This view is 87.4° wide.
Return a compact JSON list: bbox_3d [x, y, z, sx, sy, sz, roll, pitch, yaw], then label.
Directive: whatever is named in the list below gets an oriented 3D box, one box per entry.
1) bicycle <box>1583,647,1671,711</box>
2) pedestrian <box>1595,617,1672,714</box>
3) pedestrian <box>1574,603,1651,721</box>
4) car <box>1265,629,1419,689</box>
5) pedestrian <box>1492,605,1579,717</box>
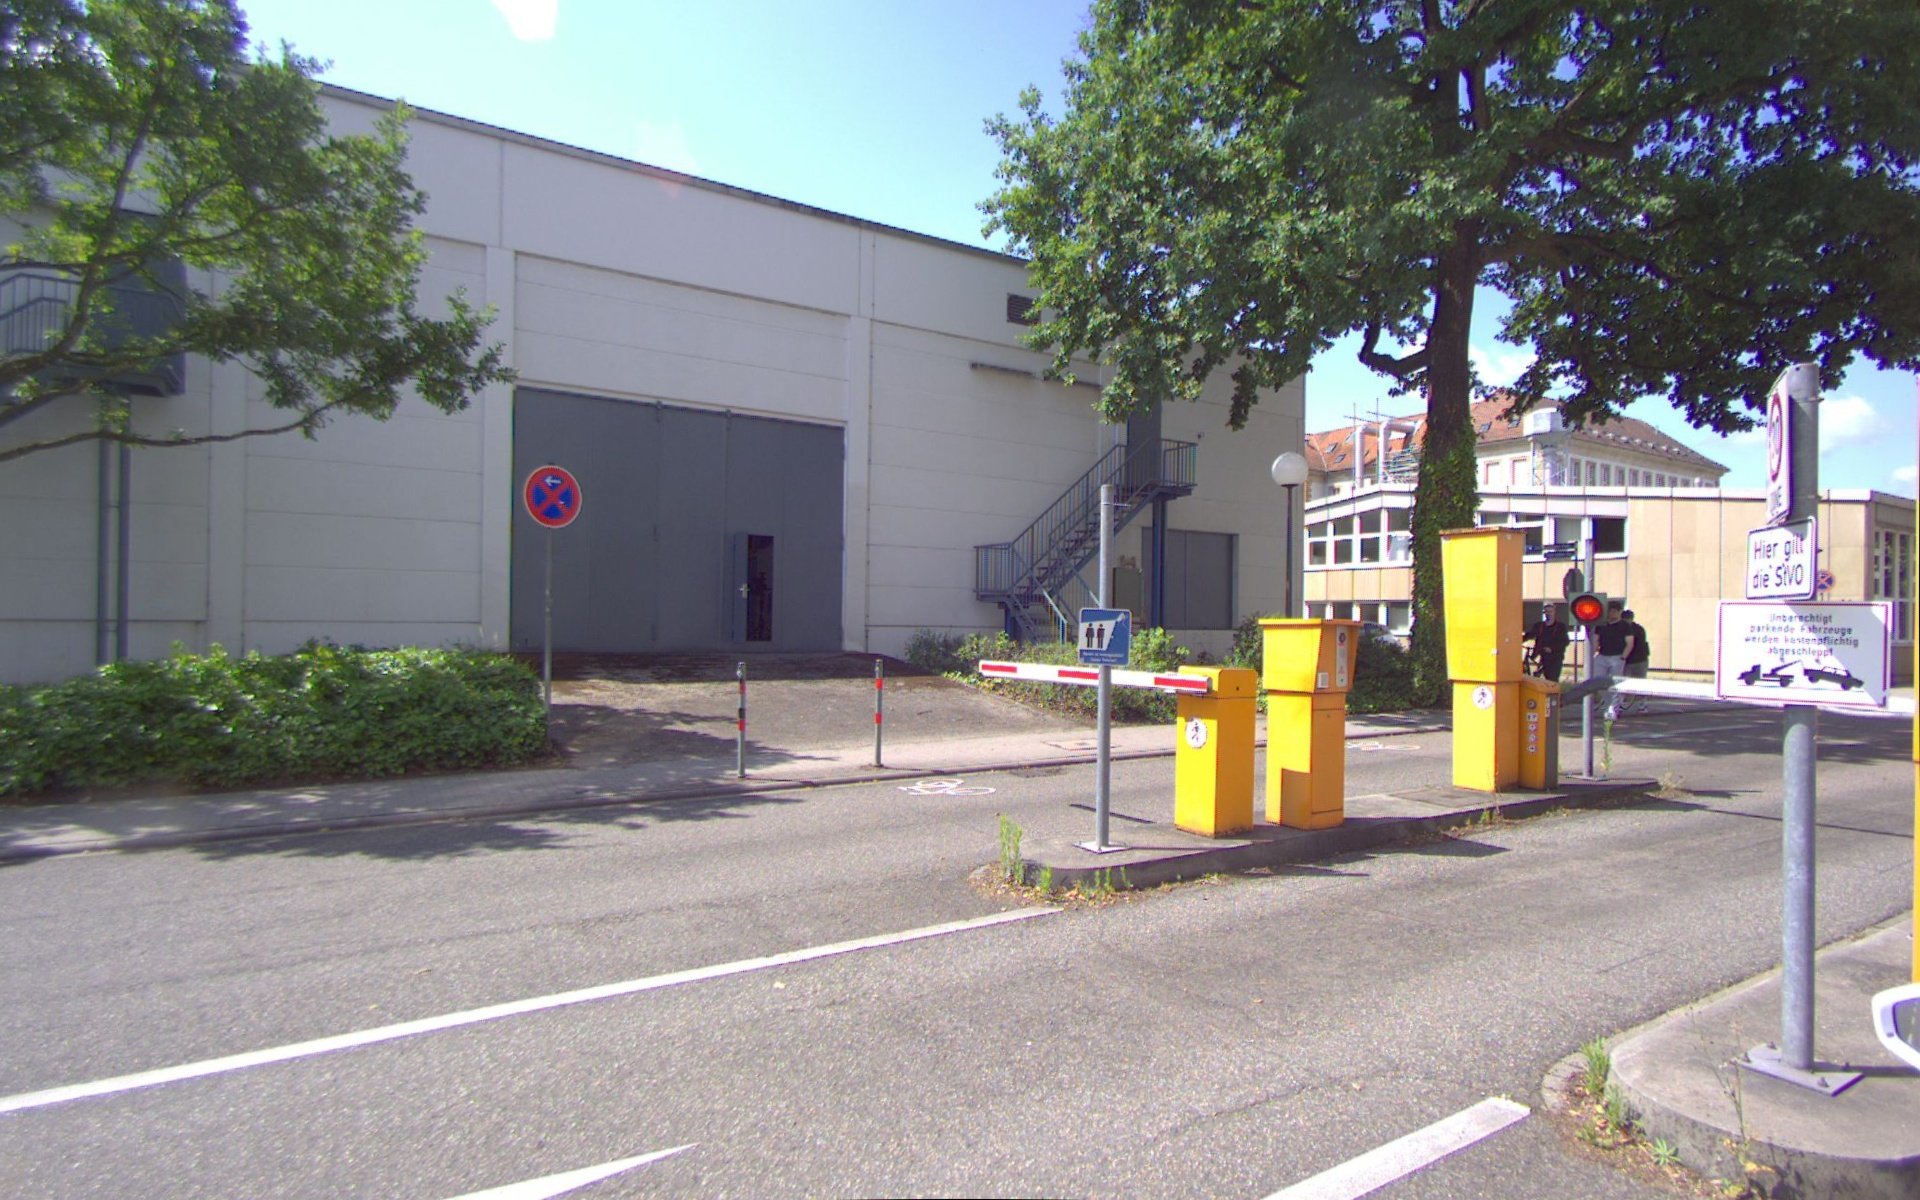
[{"bbox_3d":[12.120,1.404,18.239,1.880,1.063,0.641,1,-1,-33],"label":"bicycle"},{"bbox_3d":[11.558,1.096,17.246,0.797,1.607,0.850,1,-1,-33],"label":"pedestrian"},{"bbox_3d":[10.466,0.968,16.104,0.991,1.833,0.701,1,-1,-33],"label":"pedestrian"},{"bbox_3d":[10.562,1.569,27.678,4.253,1.486,1.818,1,-1,-33],"label":"car"},{"bbox_3d":[9.835,1.018,17.180,0.797,1.840,1.050,1,-1,-33],"label":"pedestrian"}]
